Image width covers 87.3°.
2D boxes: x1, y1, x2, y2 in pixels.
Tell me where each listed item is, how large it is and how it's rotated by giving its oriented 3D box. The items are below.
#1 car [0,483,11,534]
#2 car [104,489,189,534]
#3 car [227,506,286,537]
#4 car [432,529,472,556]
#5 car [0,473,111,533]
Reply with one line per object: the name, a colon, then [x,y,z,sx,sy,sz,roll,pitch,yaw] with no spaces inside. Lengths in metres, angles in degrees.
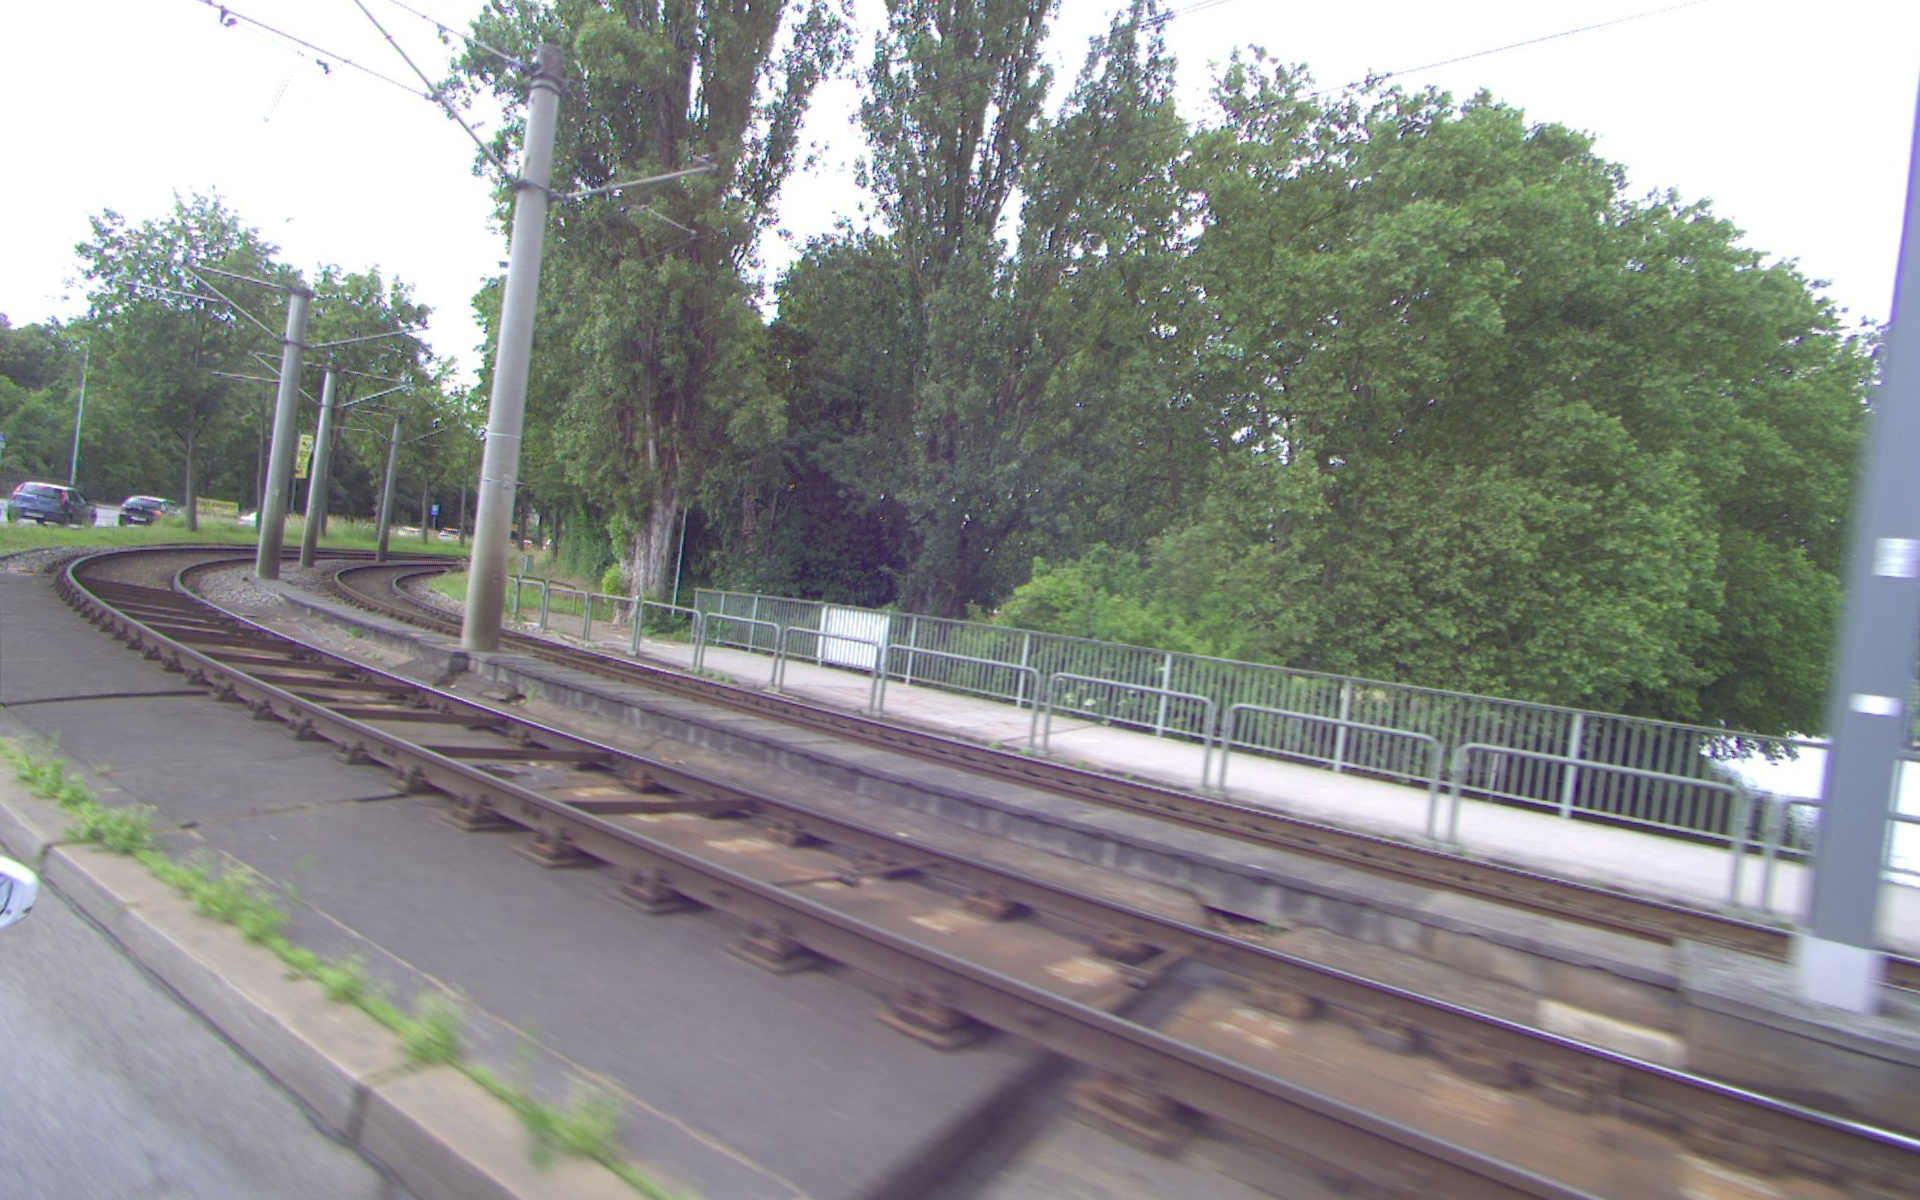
car: [-28.441,-2.765,28.107,1.763,1.511,3.969,10,-2,-30]
car: [-35.447,-3.824,43.936,1.561,1.557,3.981,8,-1,-21]
car: [-40.052,-4.441,57.366,1.482,1.381,3.576,7,0,-15]
car: [-45.031,-5.084,89.324,1.902,1.882,3.993,8,0,-10]
car: [-32.225,-3.404,35.814,1.876,1.592,3.976,9,-1,-25]
